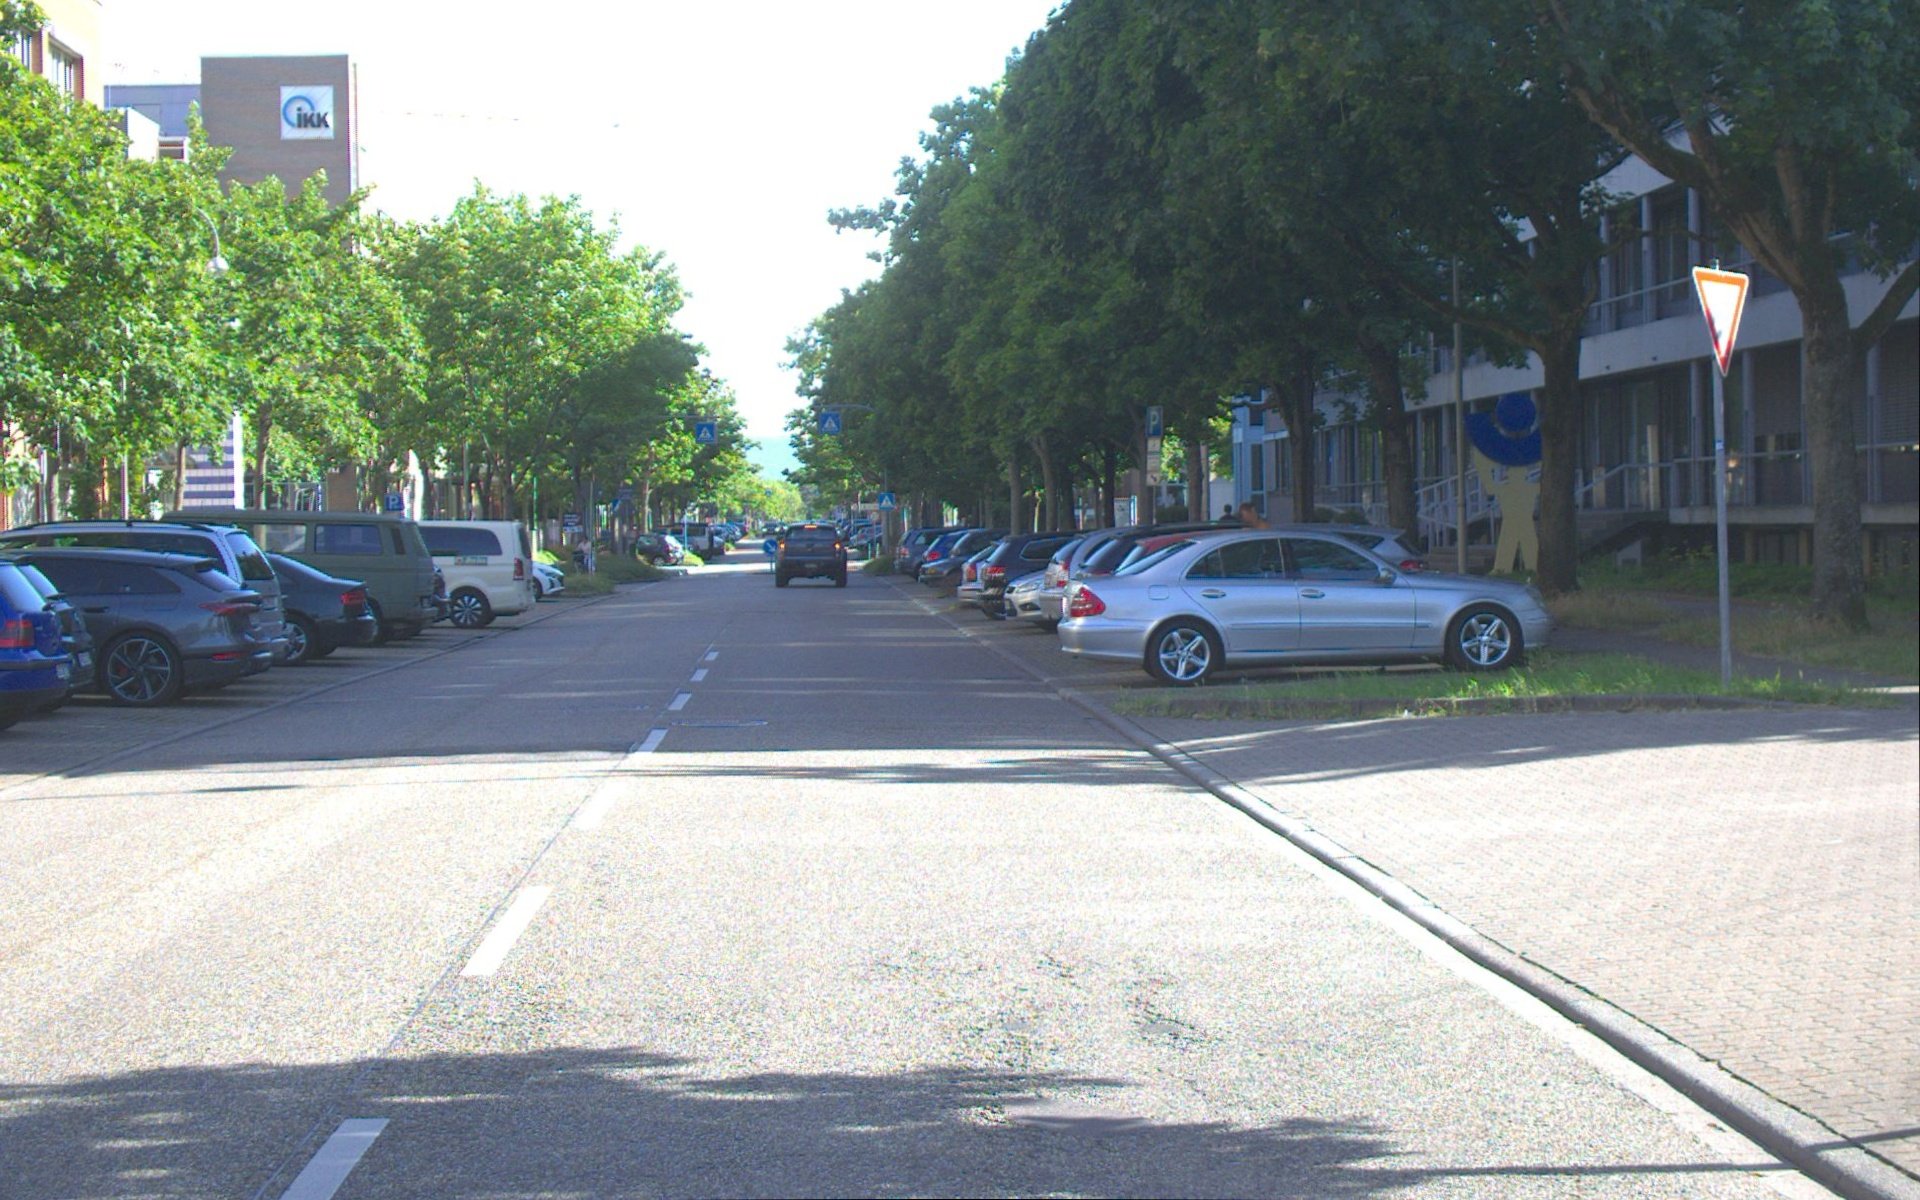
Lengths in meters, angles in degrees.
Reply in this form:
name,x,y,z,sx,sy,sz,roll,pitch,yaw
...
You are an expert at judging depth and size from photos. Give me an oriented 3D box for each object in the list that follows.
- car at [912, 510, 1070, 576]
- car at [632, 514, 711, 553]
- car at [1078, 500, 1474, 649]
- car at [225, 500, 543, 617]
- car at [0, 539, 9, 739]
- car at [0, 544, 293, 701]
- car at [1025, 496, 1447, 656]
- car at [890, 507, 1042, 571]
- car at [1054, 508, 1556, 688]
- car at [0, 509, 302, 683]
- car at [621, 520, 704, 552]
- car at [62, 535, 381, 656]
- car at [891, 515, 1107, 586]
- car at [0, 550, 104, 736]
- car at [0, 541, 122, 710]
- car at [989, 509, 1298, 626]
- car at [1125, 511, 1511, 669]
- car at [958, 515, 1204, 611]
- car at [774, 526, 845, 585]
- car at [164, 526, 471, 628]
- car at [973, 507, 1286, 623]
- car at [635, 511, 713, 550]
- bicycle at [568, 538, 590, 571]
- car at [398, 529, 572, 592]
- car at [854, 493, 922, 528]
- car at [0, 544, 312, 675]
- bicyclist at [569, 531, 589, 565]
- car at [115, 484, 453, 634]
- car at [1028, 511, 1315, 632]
name,x,y,z,sx,sy,sz,roll,pitch,yaw
car,0.783,-1.479,88.748,3.949,1.509,1.813,-3,1,-1
car,-15.476,-3.562,184.398,3.987,2.007,2.000,-1,1,2
car,3.723,-0.317,41.105,4.515,1.537,1.922,-3,1,1
car,-9.999,-0.730,59.949,5.257,1.960,1.943,1,1,-2
car,-9.061,0.294,25.157,3.726,1.503,1.860,1,1,-3
car,-8.676,0.189,32.685,4.402,1.422,1.773,1,1,-4
car,3.027,-0.283,38.371,4.515,1.537,1.922,-3,1,2
car,0.169,-1.840,103.092,4.350,1.698,1.813,-3,1,-5
car,3.270,-0.041,33.204,4.578,1.470,1.747,-3,1,-1
car,-9.067,-0.071,35.219,4.320,1.711,1.963,1,1,-3
car,-14.110,-3.054,162.960,3.847,1.468,1.813,0,1,-8
car,-9.076,-0.062,42.474,3.725,1.422,1.725,0,1,-8
car,0.885,-1.176,80.409,4.824,1.415,2.032,-3,1,-4
car,-8.914,0.305,27.480,3.726,1.422,1.841,1,1,-3
car,-9.441,0.192,30.278,3.726,1.422,1.773,1,1,-3
car,2.655,-0.489,50.565,4.285,1.488,2.004,-3,1,-3
car,3.707,-0.127,36.163,3.838,1.442,1.922,-3,1,2
car,2.032,-0.637,58.450,3.969,1.415,1.711,-3,1,-4
car,-4.352,-1.294,99.367,1.993,1.634,4.001,1,1,-3
car,-9.796,-0.363,52.642,4.320,1.472,1.943,1,1,0
car,2.579,-0.551,53.041,4.591,1.488,1.763,-4,1,-2
car,-15.565,-3.782,187.463,3.987,2.007,2.000,-1,1,2
bicycle,-12.447,-1.497,112.392,0.532,1.068,1.300,-1,1,0
car,-11.349,-0.944,82.373,3.986,1.481,1.807,0,1,-3
car,-4.342,-5.366,207.330,3.986,2.007,2.000,-1,1,-4
car,-9.386,0.080,37.604,4.320,1.354,1.757,1,1,-3
bicyclist,-12.452,-1.703,112.362,0.532,1.087,0.794,-1,1,0
car,-9.771,-0.604,49.951,4.488,2.082,2.083,1,1,0
car,2.938,-0.408,48.167,3.742,1.488,1.617,-3,1,-6
